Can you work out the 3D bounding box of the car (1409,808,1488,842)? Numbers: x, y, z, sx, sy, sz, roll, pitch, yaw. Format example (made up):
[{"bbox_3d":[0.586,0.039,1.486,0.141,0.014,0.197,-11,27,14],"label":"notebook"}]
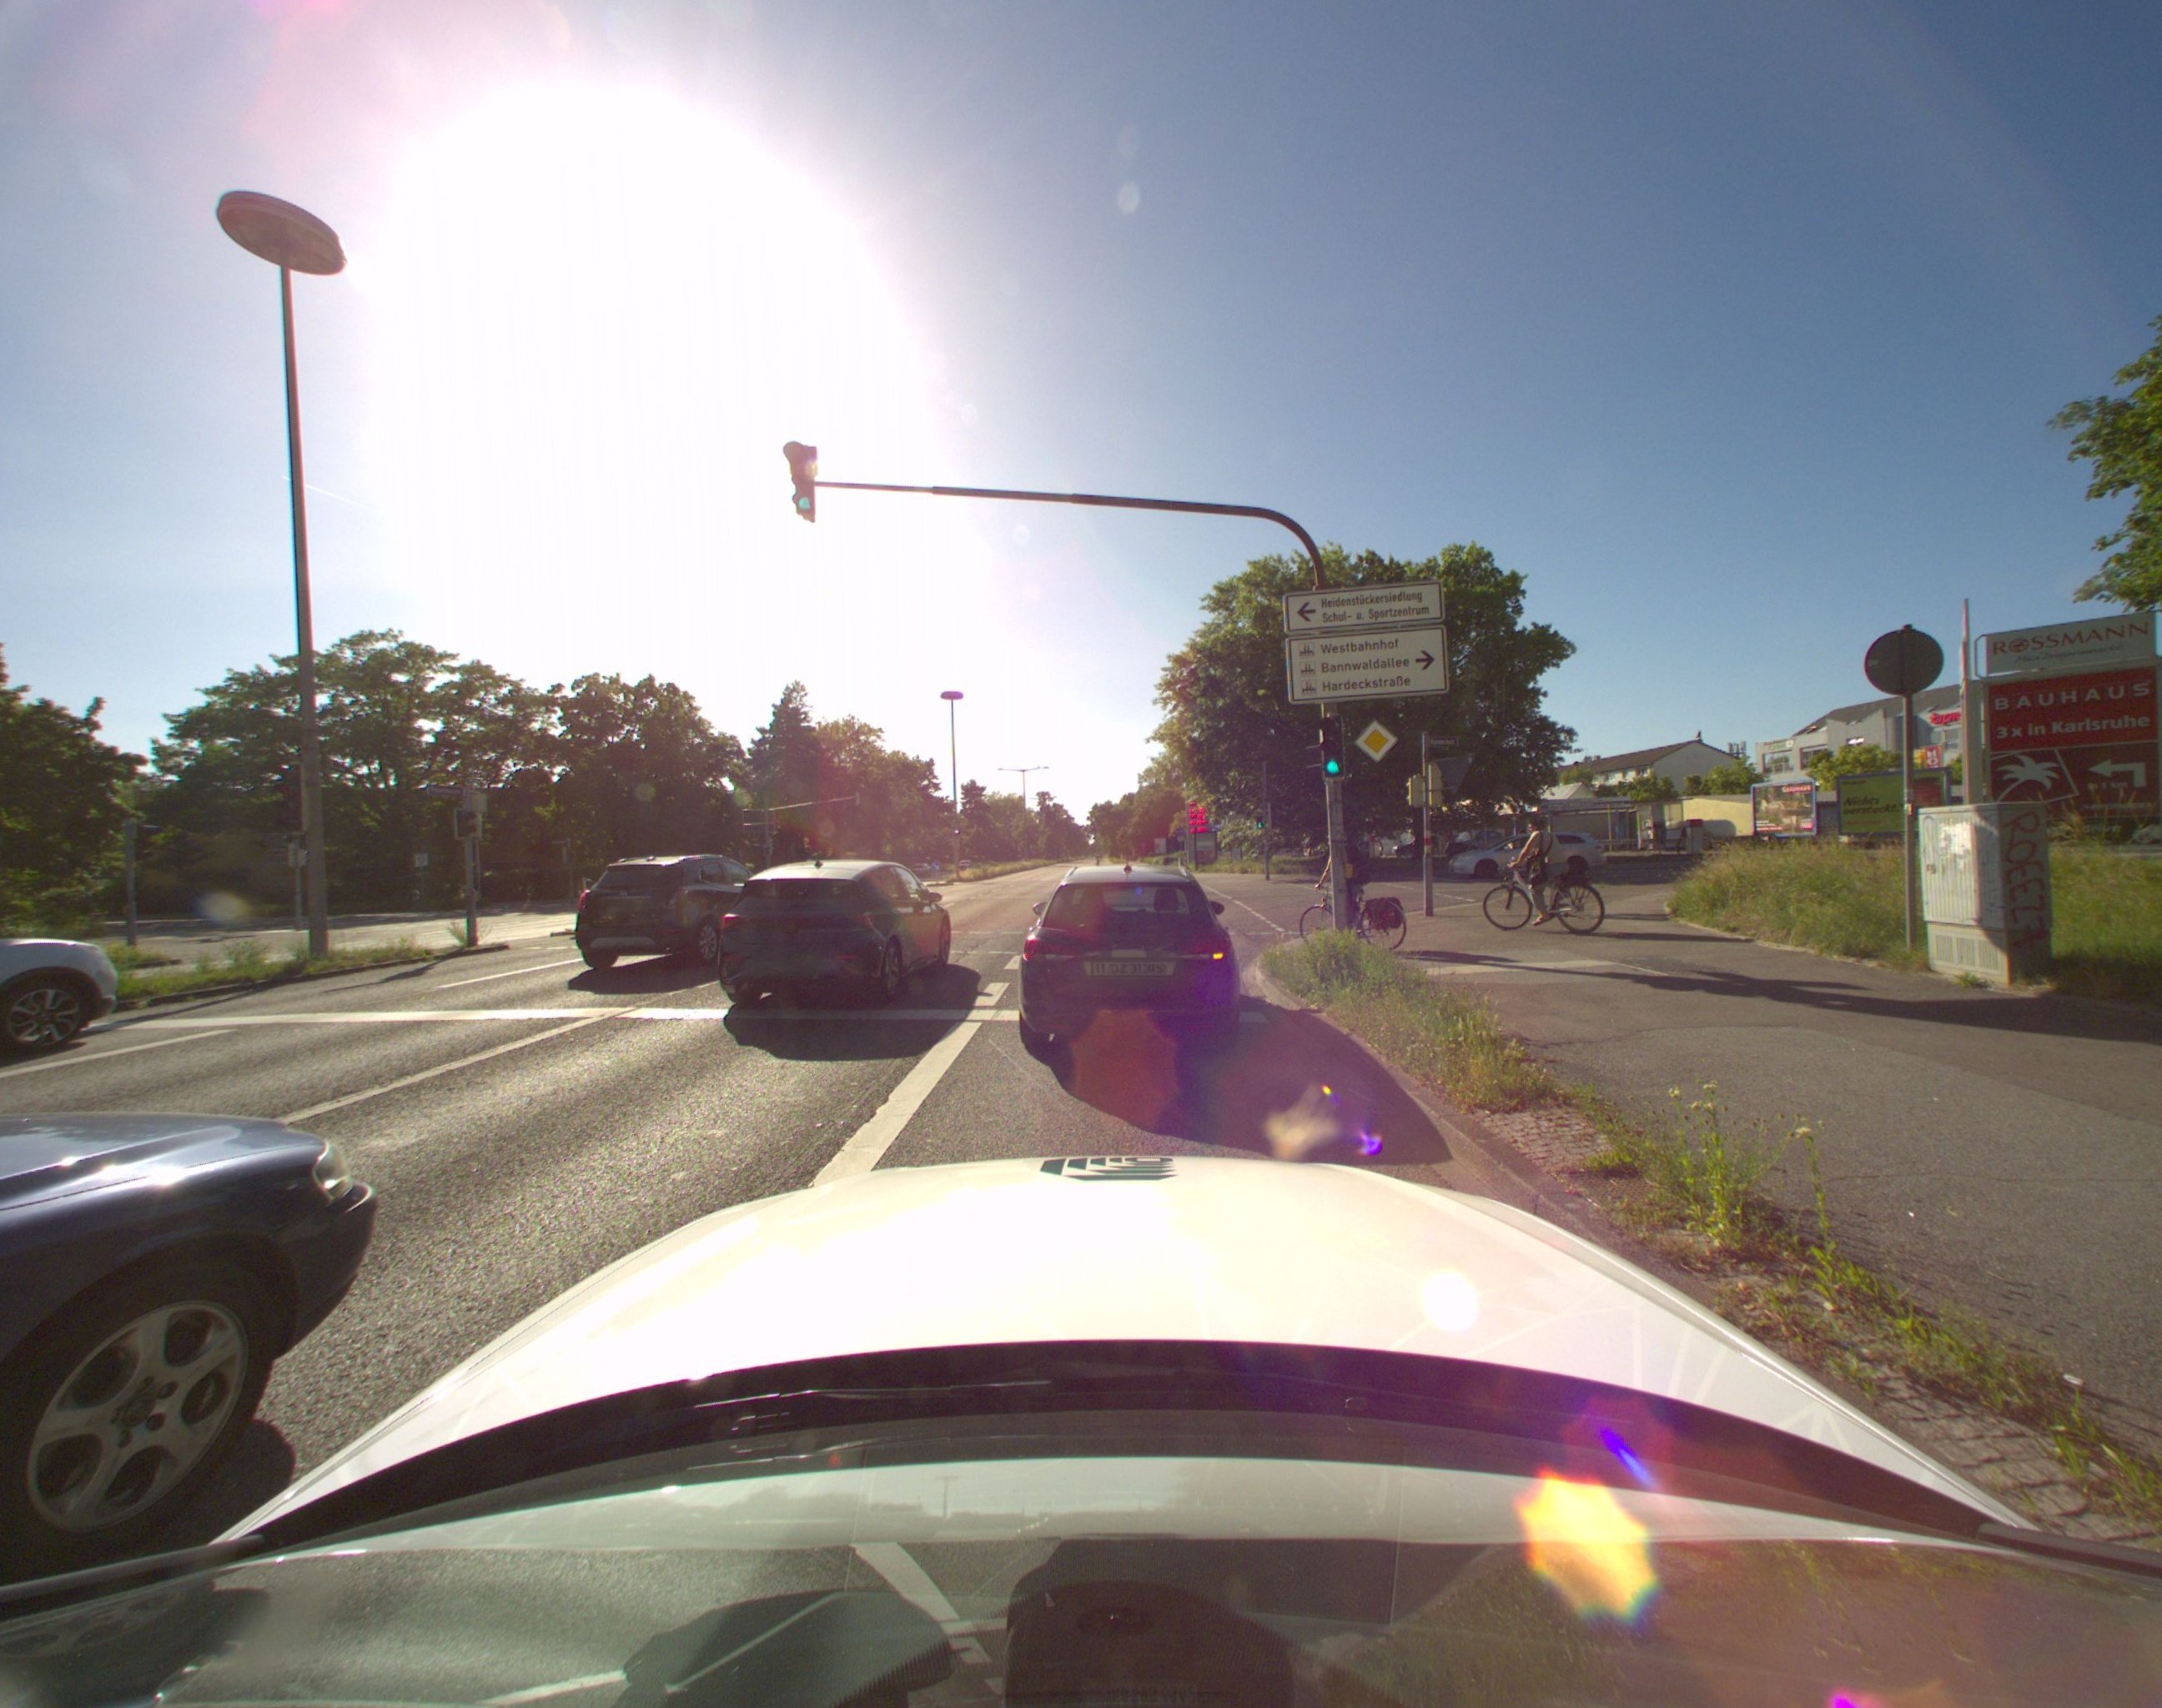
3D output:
[{"bbox_3d":[21.393,-1.654,47.453,4.002,1.750,1.986,1,-1,-22],"label":"car"}]

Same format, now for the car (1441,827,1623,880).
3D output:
[{"bbox_3d":[14.983,-0.005,27.391,4.969,1.486,2.007,-2,0,13],"label":"car"}]

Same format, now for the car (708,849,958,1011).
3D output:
[{"bbox_3d":[-2.783,0.775,10.174,1.678,1.580,4.209,-1,-1,2],"label":"car"}]

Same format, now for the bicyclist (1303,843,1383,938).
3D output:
[{"bbox_3d":[3.697,0.517,11.499,0.540,1.277,0.819,-2,-2,-41],"label":"bicyclist"}]

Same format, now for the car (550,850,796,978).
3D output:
[{"bbox_3d":[-6.328,0.829,13.215,1.798,1.689,4.002,-3,0,2],"label":"car"}]

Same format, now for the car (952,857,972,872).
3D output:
[{"bbox_3d":[-16.503,1.463,113.187,1.986,2.013,4.001,-3,0,1],"label":"car"}]

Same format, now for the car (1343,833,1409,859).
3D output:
[{"bbox_3d":[19.752,-0.519,54.522,3.903,1.518,1.733,-3,0,-21],"label":"car"}]

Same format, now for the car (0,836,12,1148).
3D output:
[{"bbox_3d":[-7.027,0.796,2.319,1.986,1.710,4.427,-3,0,2],"label":"car"}]

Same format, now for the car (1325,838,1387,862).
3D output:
[{"bbox_3d":[19.425,-0.297,57.614,3.903,1.518,1.733,-3,0,-21],"label":"car"}]

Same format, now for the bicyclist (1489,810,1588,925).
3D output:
[{"bbox_3d":[6.648,0.204,11.864,0.582,1.581,0.988,-3,-2,-28],"label":"bicyclist"}]

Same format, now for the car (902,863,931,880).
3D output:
[{"bbox_3d":[-16.848,1.740,83.475,1.986,1.530,4.001,-3,0,1],"label":"car"}]

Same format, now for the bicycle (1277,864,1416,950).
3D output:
[{"bbox_3d":[3.710,0.759,11.495,0.540,1.097,1.755,-2,-2,-41],"label":"bicycle"}]

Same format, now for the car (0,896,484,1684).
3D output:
[{"bbox_3d":[-2.979,0.844,0.529,1.769,1.452,4.458,0,-1,2],"label":"car"}]

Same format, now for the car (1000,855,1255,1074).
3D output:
[{"bbox_3d":[0.391,0.788,7.762,1.750,1.495,4.209,-1,-1,2],"label":"car"}]

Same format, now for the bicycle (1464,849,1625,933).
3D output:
[{"bbox_3d":[6.671,0.545,11.853,0.582,1.097,1.969,-3,-2,-28],"label":"bicycle"}]

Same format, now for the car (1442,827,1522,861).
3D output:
[{"bbox_3d":[22.444,-0.554,45.607,4.002,1.680,1.733,-3,0,-21],"label":"car"}]

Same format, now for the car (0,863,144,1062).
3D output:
[{"bbox_3d":[-10.260,0.977,6.080,1.824,1.702,3.999,-3,0,0],"label":"car"}]
